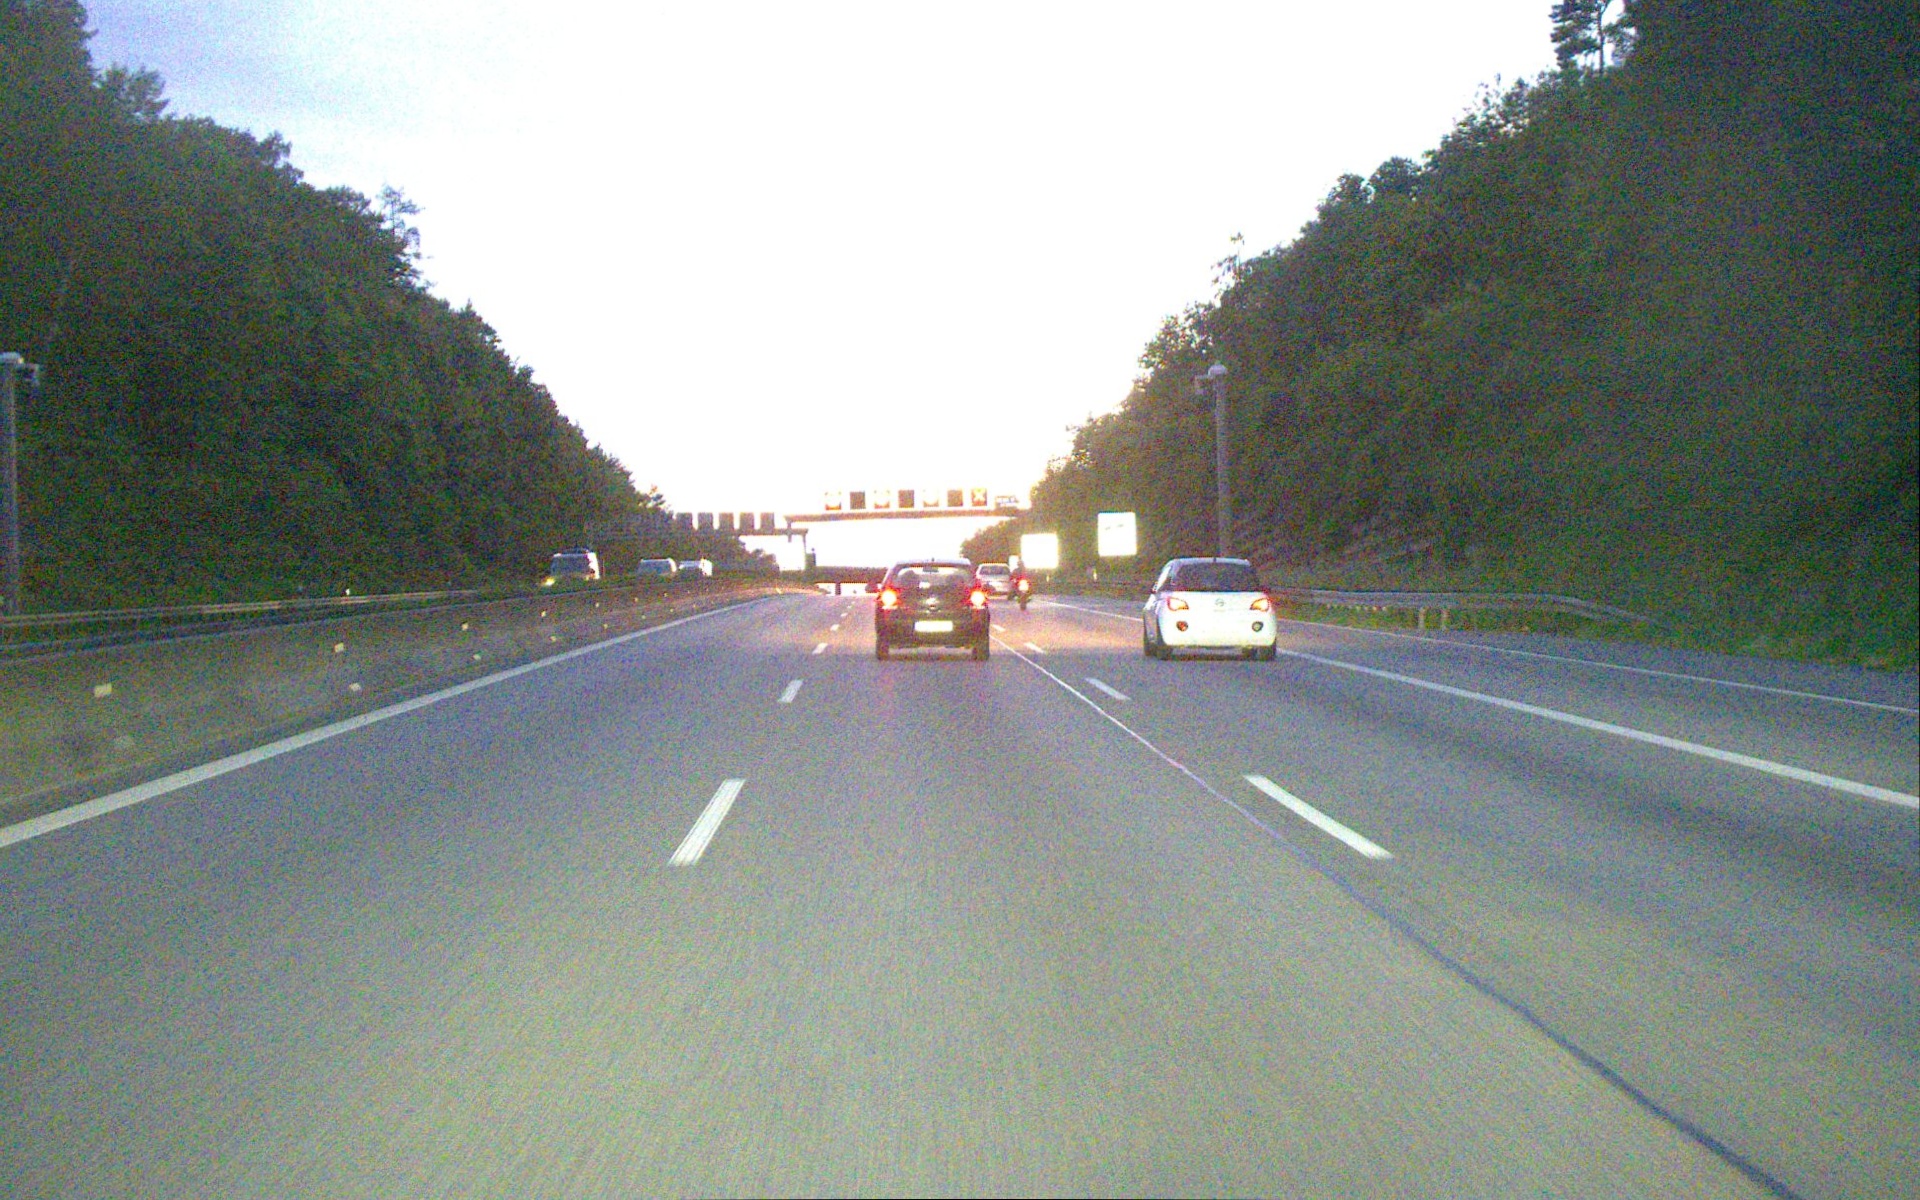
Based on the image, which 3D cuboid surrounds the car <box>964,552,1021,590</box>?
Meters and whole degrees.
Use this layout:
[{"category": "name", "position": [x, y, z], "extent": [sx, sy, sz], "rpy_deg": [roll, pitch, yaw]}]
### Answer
[{"category": "car", "position": [1.348, -1.202, 143.234], "extent": [1.865, 1.489, 4.399], "rpy_deg": [1, -1, -6]}]

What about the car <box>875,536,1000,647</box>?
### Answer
[{"category": "car", "position": [-0.346, -0.089, 49.902], "extent": [1.704, 1.504, 4.232], "rpy_deg": [1, -1, -1]}]

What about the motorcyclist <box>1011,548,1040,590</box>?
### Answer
[{"category": "motorcyclist", "position": [1.994, -0.947, 105.434], "extent": [0.829, 1.287, 1.190], "rpy_deg": [0, 0, -1]}]

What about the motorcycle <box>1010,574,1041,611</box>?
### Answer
[{"category": "motorcycle", "position": [1.997, -0.232, 105.499], "extent": [0.829, 1.130, 2.476], "rpy_deg": [0, 0, -1]}]

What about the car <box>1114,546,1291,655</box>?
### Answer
[{"category": "car", "position": [3.482, 0.028, 50.124], "extent": [1.825, 1.471, 4.399], "rpy_deg": [1, -1, -6]}]
